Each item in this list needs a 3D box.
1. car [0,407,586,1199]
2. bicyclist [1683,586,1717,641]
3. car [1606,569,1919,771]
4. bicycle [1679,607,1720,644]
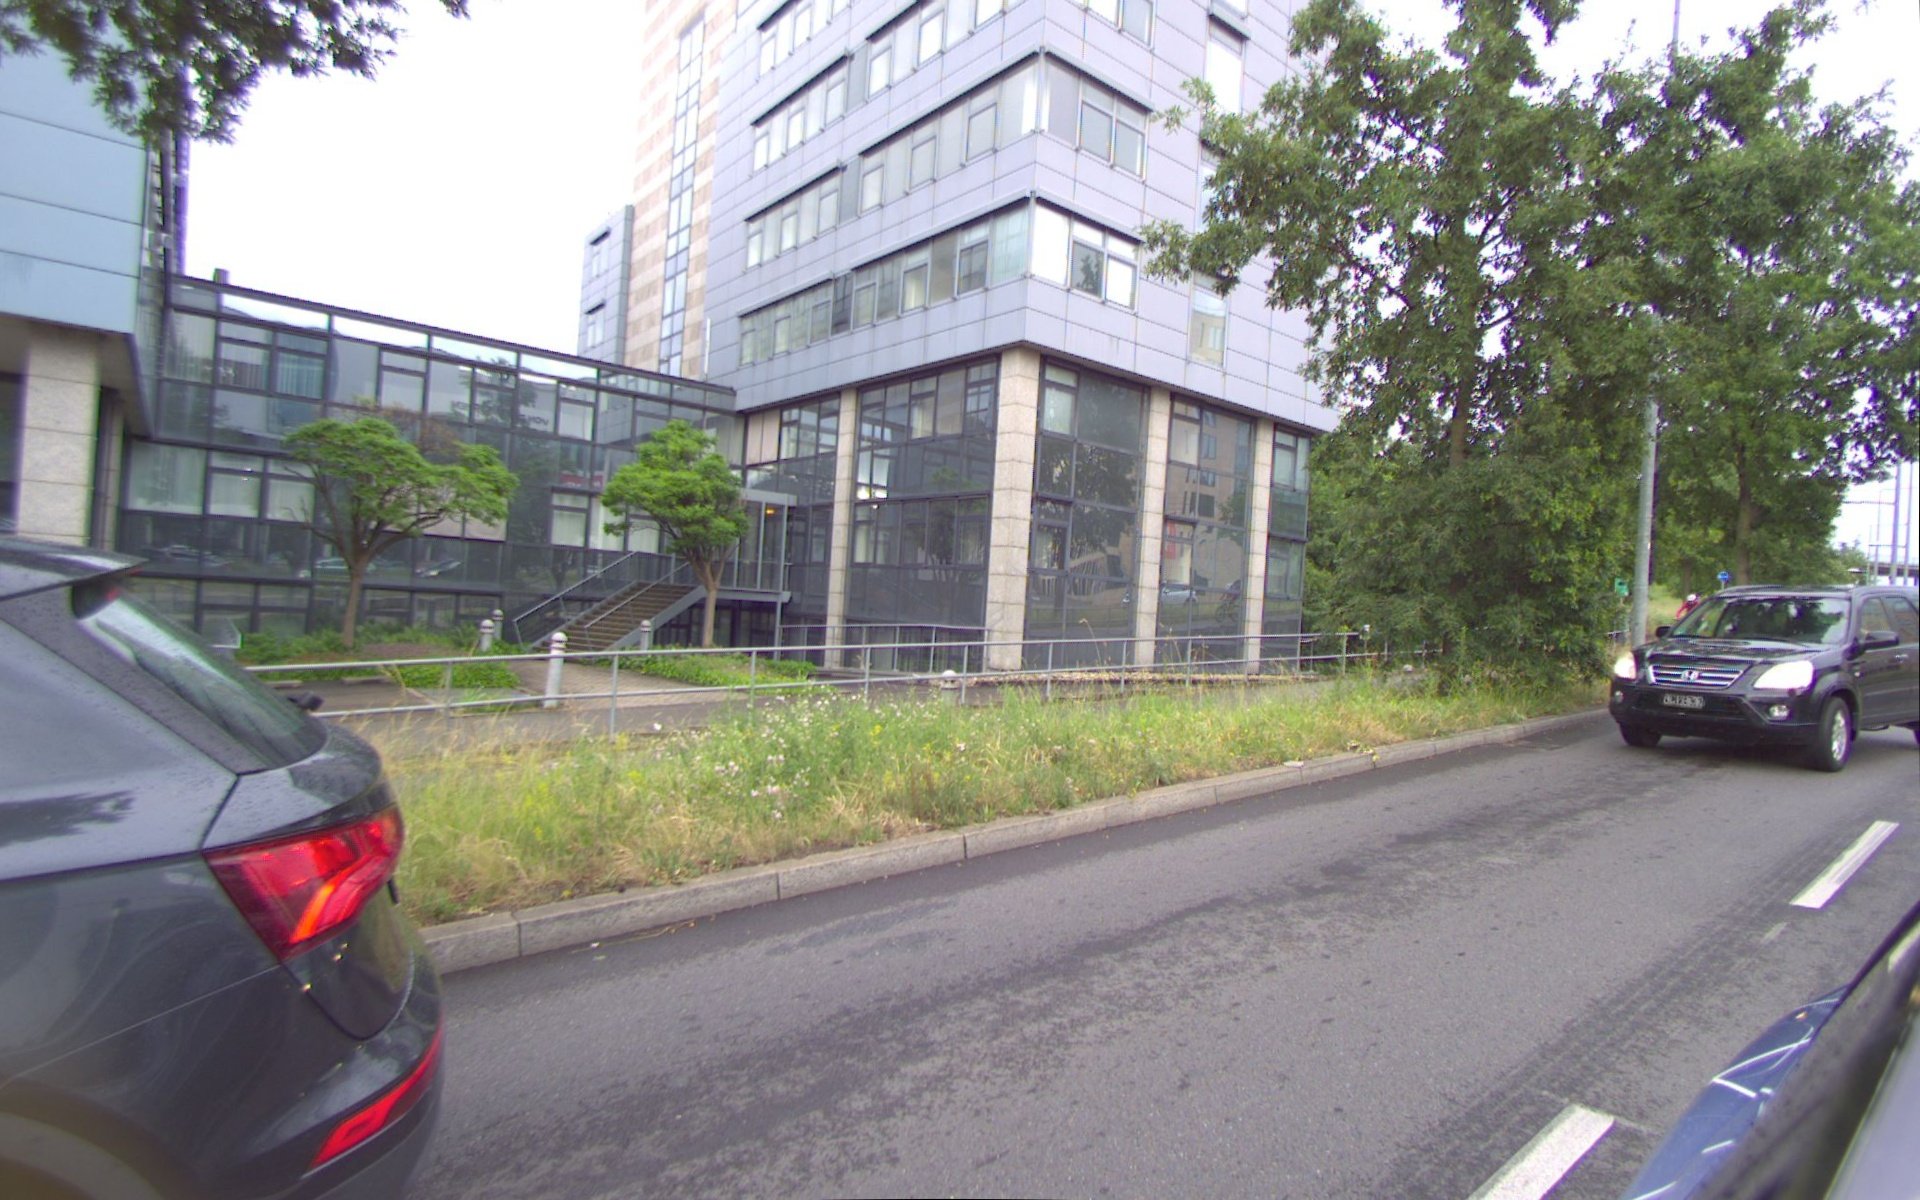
[{"bbox_3d":[-2.908,0.551,1.024,4.392,1.633,1.821,0,1,-41],"label":"car"},{"bbox_3d":[22.178,0.398,30.309,0.839,1.599,0.647,1,-1,-41],"label":"bicyclist"},{"bbox_3d":[8.619,0.568,10.230,4.251,1.679,1.762,0,1,-30],"label":"car"},{"bbox_3d":[22.165,0.751,30.322,1.872,1.102,0.581,1,-1,-41],"label":"bicycle"}]
